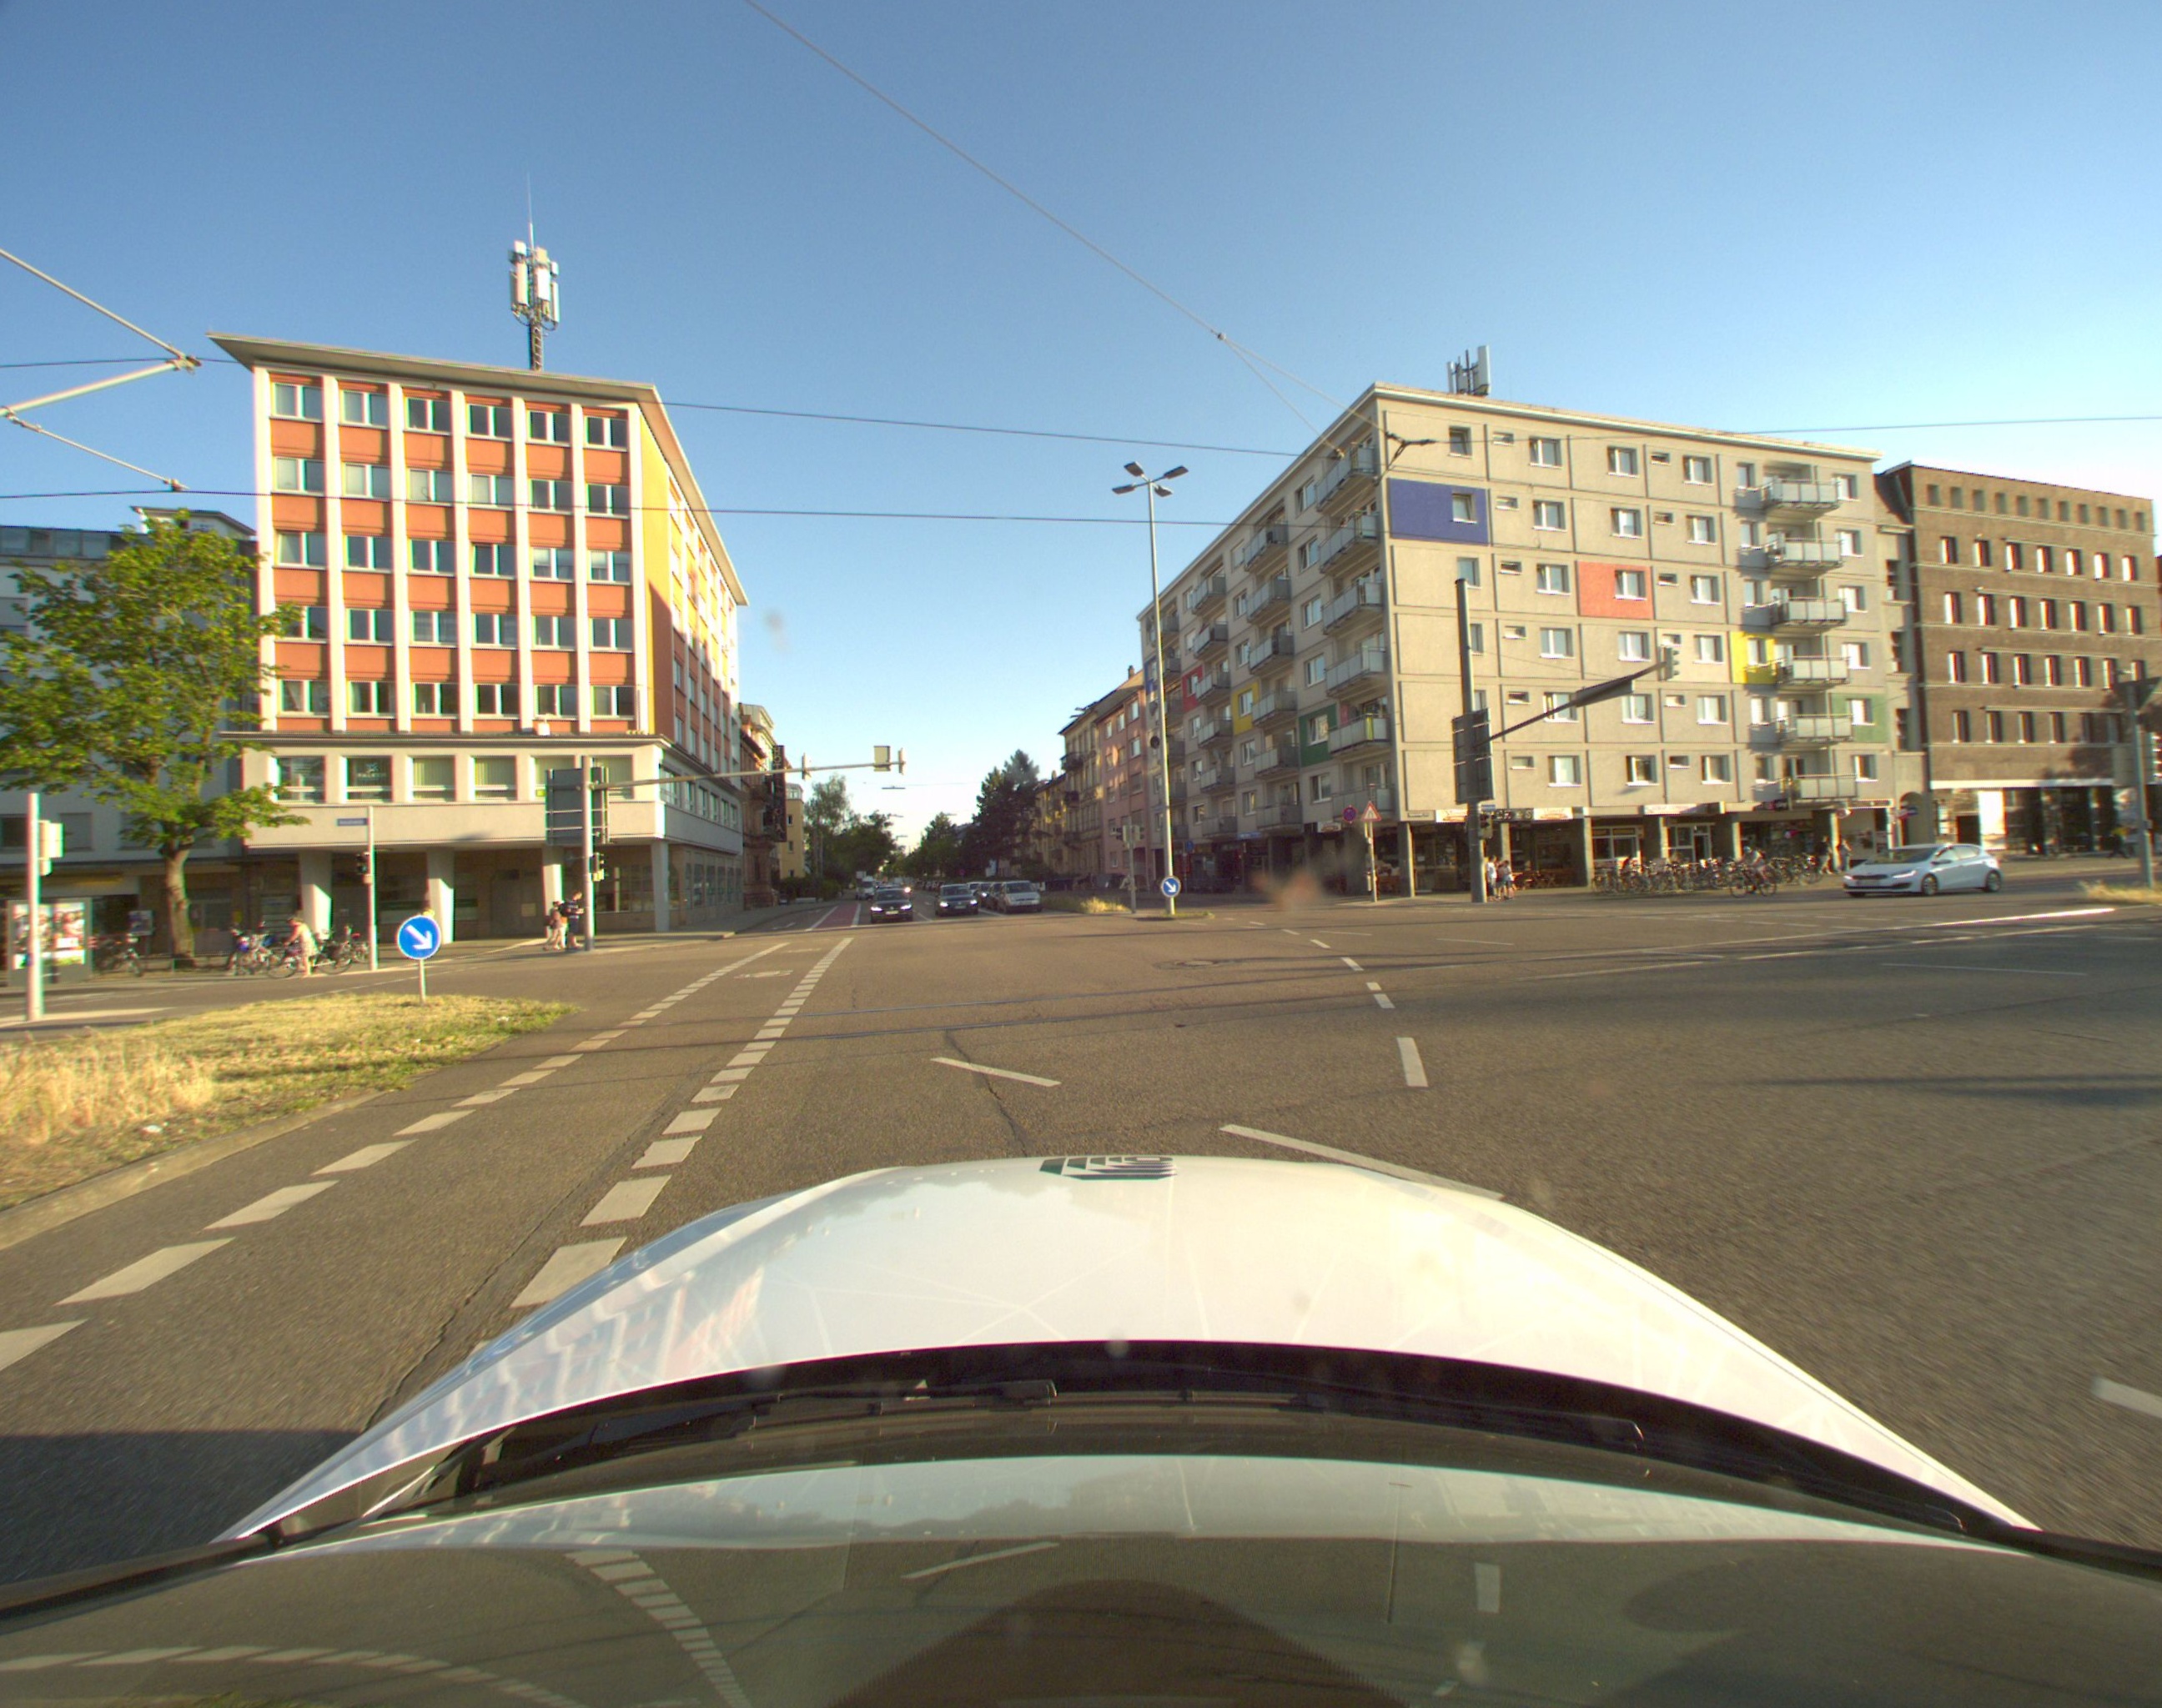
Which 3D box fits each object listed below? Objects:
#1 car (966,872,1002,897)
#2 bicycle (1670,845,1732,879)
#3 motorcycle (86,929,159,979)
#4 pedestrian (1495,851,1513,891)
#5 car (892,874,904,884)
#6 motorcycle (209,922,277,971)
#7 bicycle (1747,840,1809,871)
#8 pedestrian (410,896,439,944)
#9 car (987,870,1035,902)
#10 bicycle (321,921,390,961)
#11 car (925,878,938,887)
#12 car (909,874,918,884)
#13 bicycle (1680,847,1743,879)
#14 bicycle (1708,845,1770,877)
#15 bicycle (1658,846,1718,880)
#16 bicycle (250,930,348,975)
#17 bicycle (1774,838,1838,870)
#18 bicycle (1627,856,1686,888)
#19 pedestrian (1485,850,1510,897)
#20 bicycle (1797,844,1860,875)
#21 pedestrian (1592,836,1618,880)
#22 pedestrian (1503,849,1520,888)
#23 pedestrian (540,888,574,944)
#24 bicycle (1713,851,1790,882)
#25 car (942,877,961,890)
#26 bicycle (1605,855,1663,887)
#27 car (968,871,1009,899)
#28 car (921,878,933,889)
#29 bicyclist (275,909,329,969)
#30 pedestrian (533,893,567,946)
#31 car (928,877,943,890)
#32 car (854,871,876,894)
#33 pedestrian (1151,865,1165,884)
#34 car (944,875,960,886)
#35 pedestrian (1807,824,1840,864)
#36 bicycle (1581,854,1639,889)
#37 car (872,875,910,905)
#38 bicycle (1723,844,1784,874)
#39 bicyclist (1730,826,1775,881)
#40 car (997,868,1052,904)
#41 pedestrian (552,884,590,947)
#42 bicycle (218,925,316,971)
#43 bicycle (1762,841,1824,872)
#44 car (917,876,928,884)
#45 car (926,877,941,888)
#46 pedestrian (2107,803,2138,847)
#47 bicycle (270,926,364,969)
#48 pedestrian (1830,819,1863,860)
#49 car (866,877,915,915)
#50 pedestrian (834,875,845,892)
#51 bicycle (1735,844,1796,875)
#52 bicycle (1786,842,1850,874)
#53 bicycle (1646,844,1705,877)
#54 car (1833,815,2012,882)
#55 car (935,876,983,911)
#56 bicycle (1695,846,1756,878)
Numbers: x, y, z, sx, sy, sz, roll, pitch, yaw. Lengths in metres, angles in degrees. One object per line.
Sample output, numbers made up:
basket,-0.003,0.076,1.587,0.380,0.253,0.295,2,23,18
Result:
car,-6.504,1.999,54.372,1.995,1.486,3.984,-3,-1,-12
bicycle,23.108,0.307,30.394,0.651,1.191,1.785,-3,-1,-15
motorcycle,-27.810,2.889,23.644,1.387,1.318,0.379,-3,-1,-14
pedestrian,15.619,0.621,30.077,0.397,1.448,0.373,-2,-1,-43
car,-45.202,6.164,201.270,2.620,2.376,5.230,-3,-1,-14
motorcycle,-26.239,2.871,25.540,0.544,1.318,1.827,-3,-1,-13
bicycle,26.864,0.085,31.416,0.633,1.124,1.724,-2,-1,-13
pedestrian,-25.638,2.561,31.812,0.640,1.791,0.582,-3,-1,-17
car,-3.681,1.625,42.441,1.995,1.486,3.984,-3,-1,-12
bicycle,-22.712,2.720,25.521,1.559,1.075,0.393,-3,-1,-16
car,-26.010,4.967,141.582,1.997,1.517,4.199,-3,-1,-14
car,-42.130,6.397,204.842,1.996,2.376,3.981,-3,-1,-14
bicycle,23.770,0.353,30.749,0.639,1.160,1.827,-3,-1,-15
bicycle,25.071,0.285,31.066,0.604,1.136,1.768,-3,-1,-14
bicycle,22.484,0.352,30.205,0.567,1.182,1.765,-3,-1,-15
bicycle,-19.785,2.476,20.642,1.673,0.944,0.504,-3,-1,-31
bicycle,28.256,0.015,31.757,0.747,1.179,1.688,-3,-1,-13
bicycle,21.279,0.666,30.154,0.598,1.139,1.754,-3,-1,-14
pedestrian,14.860,0.683,29.052,0.566,1.620,0.607,-4,-1,44
bicycle,29.673,0.229,32.360,0.695,1.144,1.688,-3,-1,-13
pedestrian,20.383,0.168,31.699,0.542,1.684,0.582,-3,-1,6
pedestrian,15.505,0.527,29.336,0.398,1.383,0.378,-2,-2,-43
pedestrian,-17.927,2.117,27.893,0.713,1.818,0.748,-3,-1,-15
bicycle,21.866,0.410,26.571,1.936,0.882,0.704,-3,-1,-4
car,-16.802,3.789,105.758,1.997,1.517,4.199,-3,-1,-14
bicycle,20.595,0.641,30.363,0.607,1.142,1.773,-3,-1,-15
car,-5.504,1.799,48.039,1.995,1.486,3.984,-3,-1,-12
car,-29.016,5.576,153.109,1.997,1.833,4.199,-3,-1,-14
bicyclist,-19.767,2.135,20.672,0.860,1.426,0.496,-3,-1,-31
pedestrian,-17.740,2.171,27.218,0.729,1.685,0.582,-3,-1,-17
car,-23.958,4.907,134.054,1.997,1.997,4.199,-3,-1,-14
car,-22.998,3.028,86.850,1.997,2.324,4.199,-3,-1,-14
pedestrian,5.489,1.455,57.936,0.712,1.256,0.788,-3,-1,-18
car,-20.003,4.120,126.432,1.997,1.517,4.199,-3,-1,-14
pedestrian,34.610,-0.472,37.973,0.722,1.813,0.822,-3,-1,-26
bicycle,19.658,0.650,30.326,0.637,1.208,1.790,-3,-1,-16
car,-11.060,2.041,47.464,1.996,1.531,3.981,-3,-1,-13
bicycle,25.675,0.204,31.119,0.551,1.117,1.751,-3,-1,-14
bicyclist,21.916,-0.018,26.596,0.787,1.742,0.703,-3,-1,-4
car,-2.664,1.439,37.616,1.995,1.486,3.984,-3,-1,-12
pedestrian,-16.342,1.951,26.097,0.708,1.947,0.728,-4,-1,35
bicycle,-22.588,2.607,22.624,1.905,1.075,0.466,-3,-1,-16
bicycle,27.551,0.110,31.552,0.704,1.153,1.688,-3,-1,-13
car,-31.950,5.209,164.195,1.997,1.517,4.199,-3,-1,-14
car,-23.413,4.526,129.248,1.997,1.517,4.199,-3,-1,-14
pedestrian,52.953,-1.464,41.405,0.791,2.178,0.600,-3,-1,-16
bicycle,-22.618,2.762,24.131,1.993,1.075,0.466,-3,-1,-16
pedestrian,35.001,-0.661,37.223,0.735,1.841,0.782,-3,-1,-24
car,-8.286,1.790,35.760,1.881,1.486,3.984,-3,-1,-12
pedestrian,-30.276,3.726,102.079,1.029,2.014,0.936,-2,-1,-28
bicycle,26.246,0.225,31.258,0.567,1.119,1.757,-3,-1,-14
bicycle,28.989,0.169,32.058,0.747,1.170,1.688,-3,-1,-13
bicycle,21.909,0.264,30.044,0.539,1.167,1.762,-3,-1,-15
car,23.692,-0.139,22.965,3.993,1.618,1.686,-3,-1,-15
car,-5.886,1.833,38.896,1.995,1.486,3.984,-3,-1,-12
bicycle,24.448,0.308,30.942,0.605,1.159,1.772,-3,-1,-15
